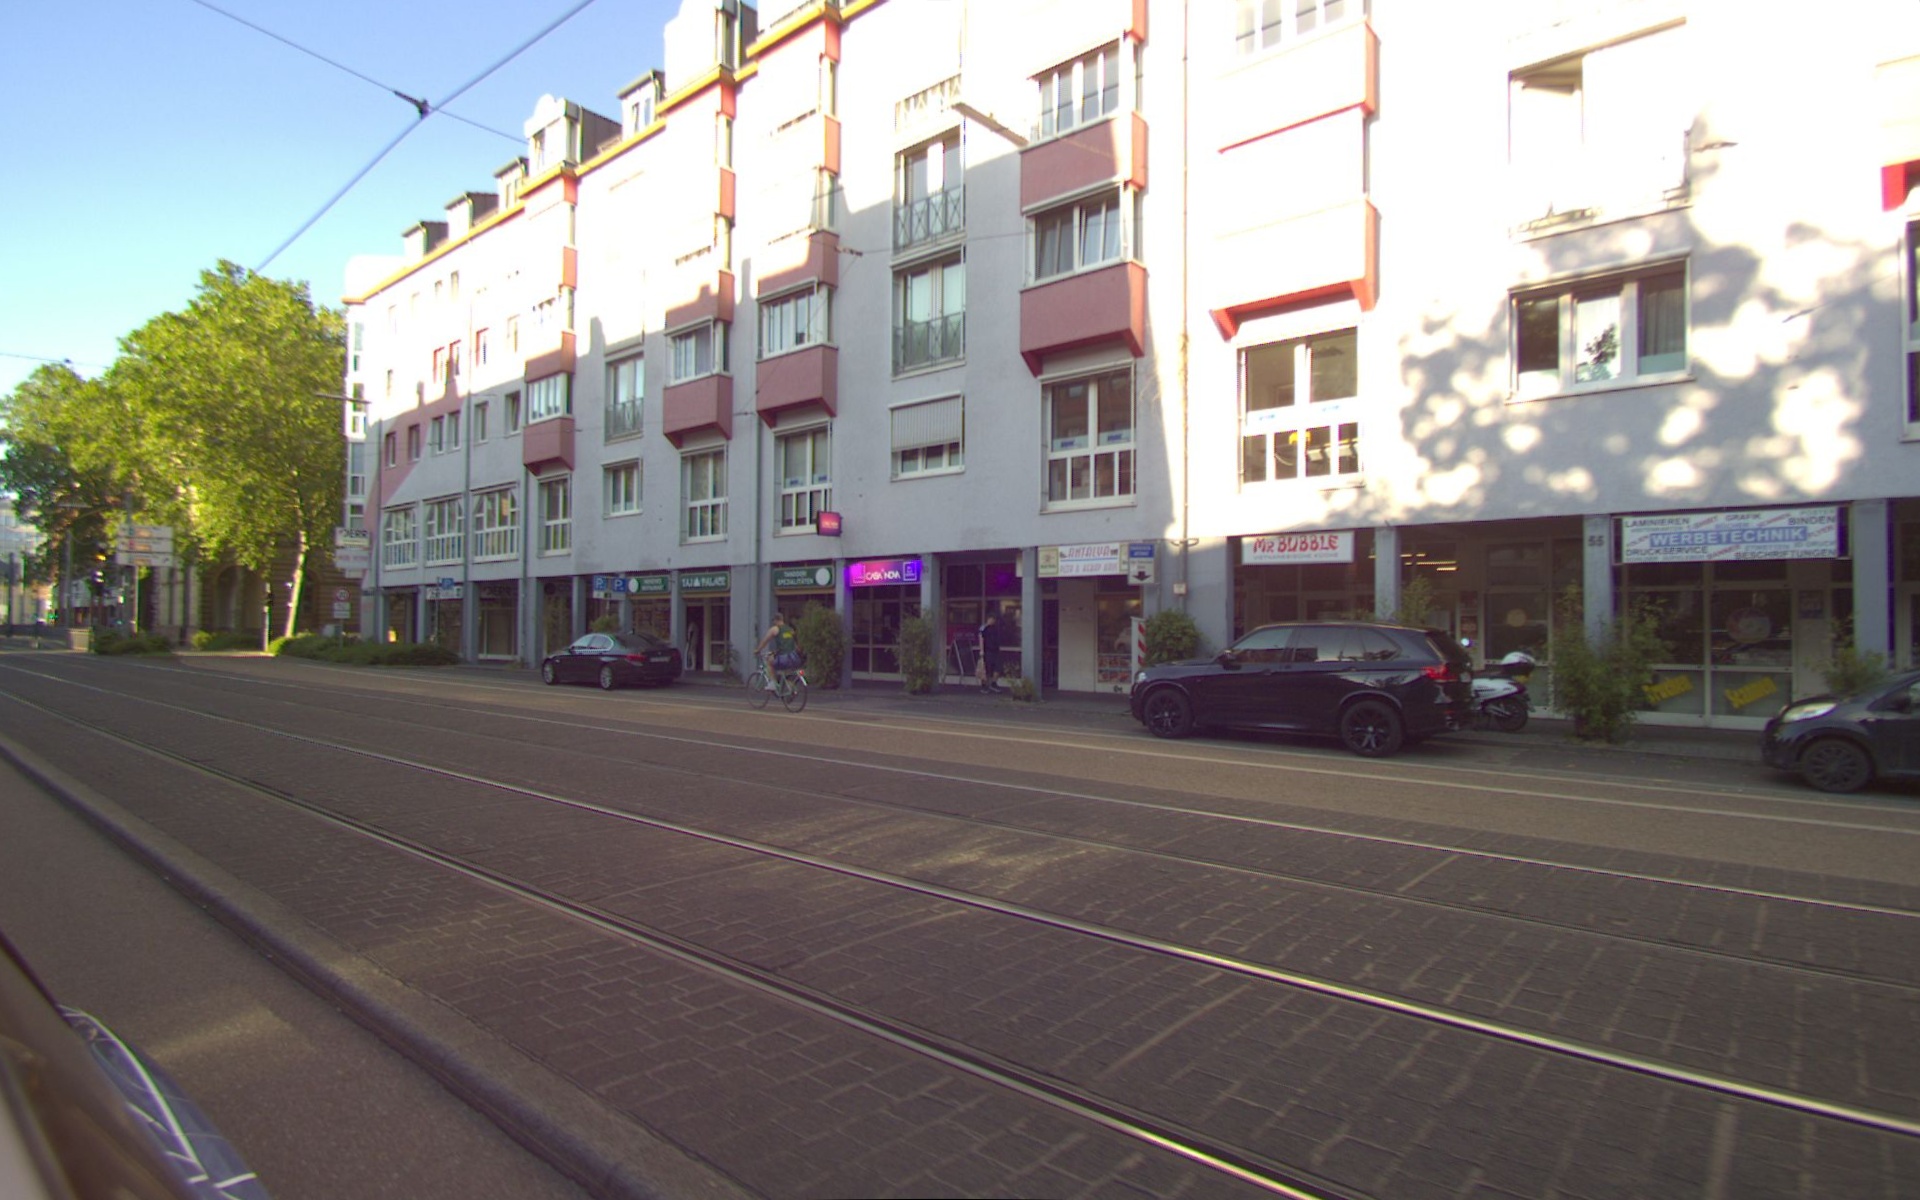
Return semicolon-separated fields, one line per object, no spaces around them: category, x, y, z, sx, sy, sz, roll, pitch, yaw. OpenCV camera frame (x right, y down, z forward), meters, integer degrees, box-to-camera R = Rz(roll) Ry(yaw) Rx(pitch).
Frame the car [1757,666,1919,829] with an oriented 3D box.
car;10.268;1.463;10.030;3.583;1.461;1.849;-1;-2;43

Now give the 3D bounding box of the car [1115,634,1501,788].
car;4.825;1.413;14.470;4.816;1.725;2.069;-1;-1;40

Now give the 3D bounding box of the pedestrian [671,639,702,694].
pedestrian;-8.790;2.130;32.486;0.615;1.725;0.736;-2;-3;37

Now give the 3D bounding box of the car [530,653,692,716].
car;-9.341;2.175;26.901;4.701;1.450;1.851;-2;-2;39

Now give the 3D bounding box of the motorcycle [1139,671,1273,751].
motorcycle;4.146;1.843;17.090;2.128;1.214;0.666;0;-1;25

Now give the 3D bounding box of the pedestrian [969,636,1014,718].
pedestrian;0.682;1.653;21.954;0.745;1.725;0.608;-2;-3;39

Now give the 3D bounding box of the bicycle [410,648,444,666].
bicycle;-21.186;2.249;40.200;1.806;0.663;0.452;-2;0;36

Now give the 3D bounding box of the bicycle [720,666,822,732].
bicycle;-3.442;1.772;18.340;2.185;1.086;0.576;-2;-5;42

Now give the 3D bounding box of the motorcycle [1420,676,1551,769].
motorcycle;7.358;1.682;14.198;1.543;1.142;0.564;-1;-1;40

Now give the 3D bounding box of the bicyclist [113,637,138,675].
bicyclist;-38.427;2.559;46.587;0.526;1.725;0.746;0;-2;-5

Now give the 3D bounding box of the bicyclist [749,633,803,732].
bicyclist;-3.319;1.476;18.241;0.745;1.725;0.565;-2;-5;41

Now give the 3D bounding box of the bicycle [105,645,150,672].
bicycle;-38.400;2.687;46.701;0.575;1.086;1.901;-1;0;-3
